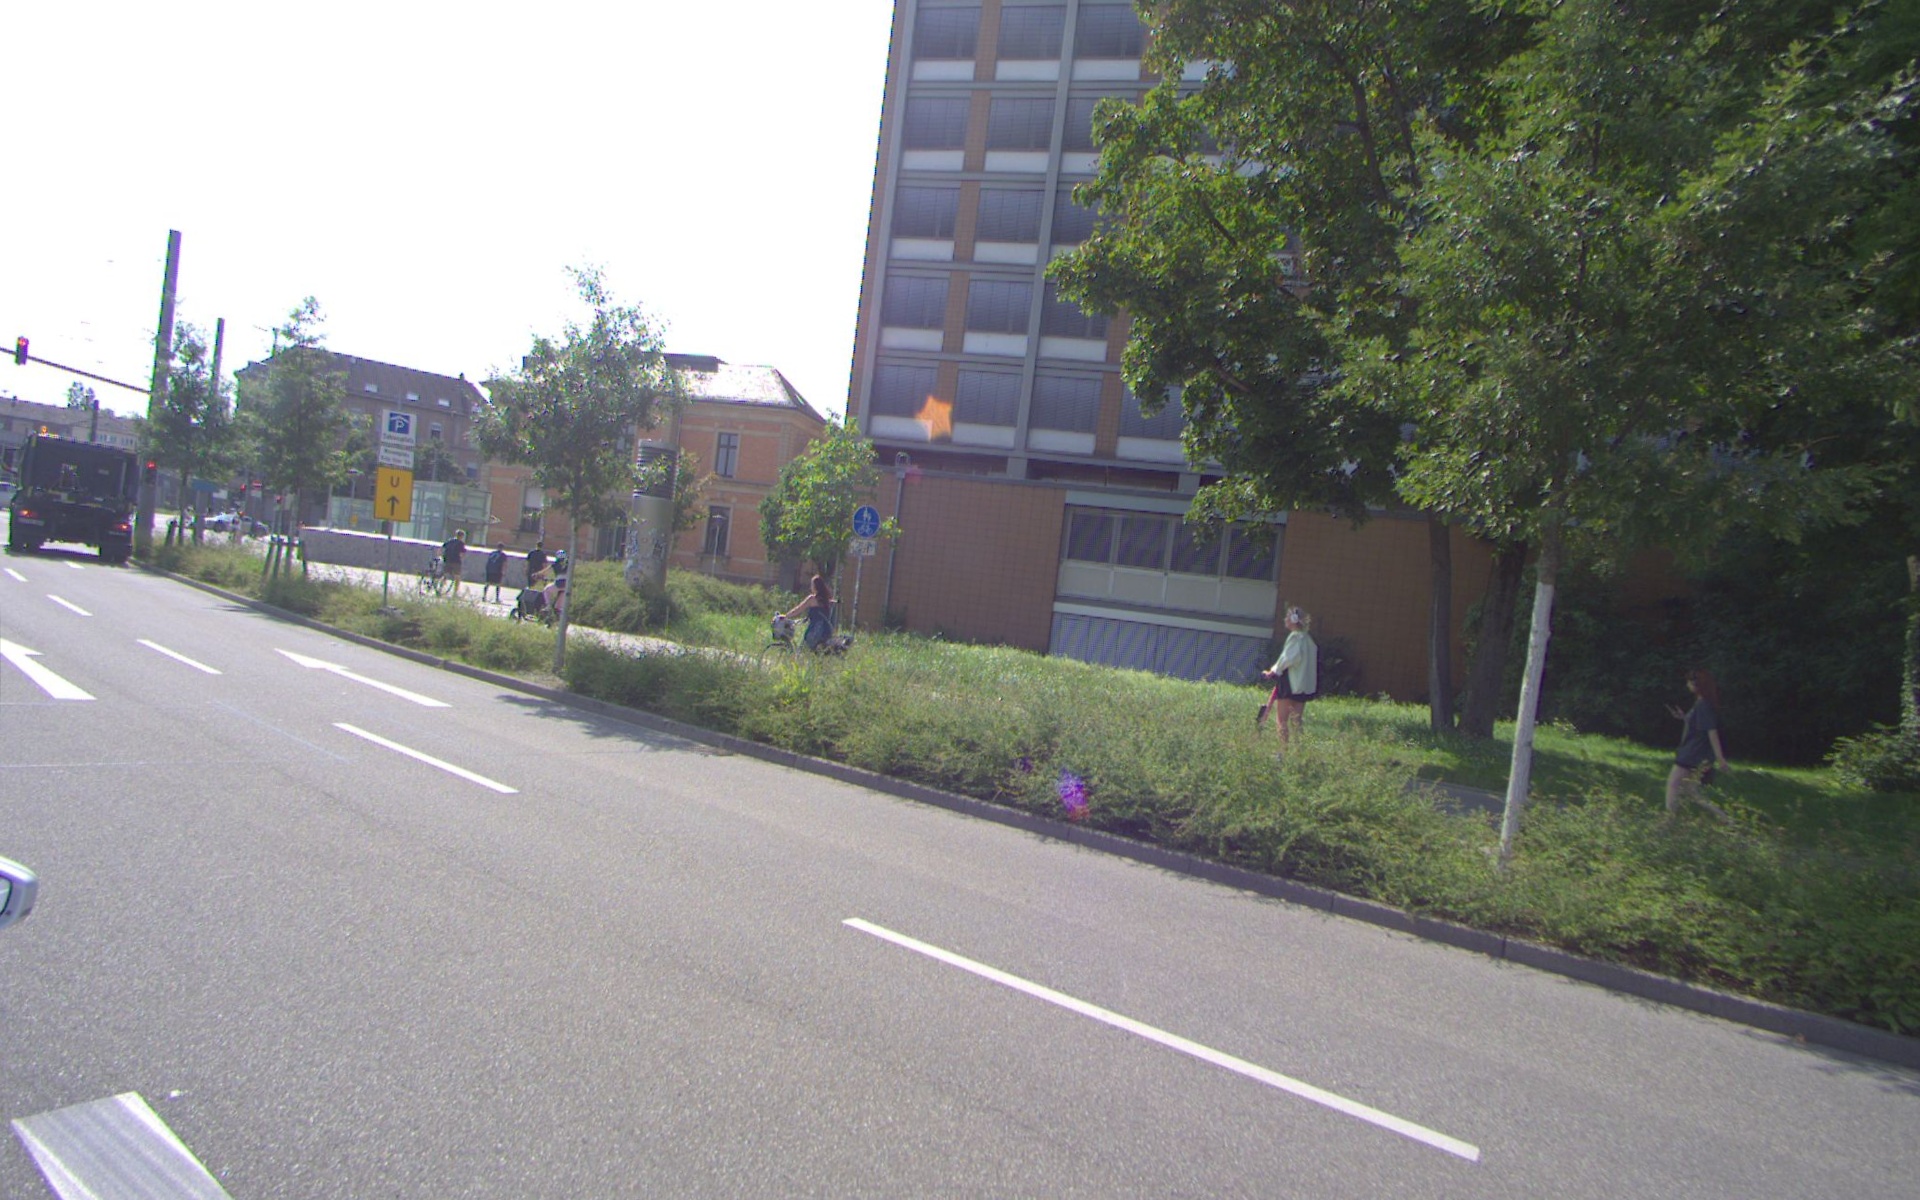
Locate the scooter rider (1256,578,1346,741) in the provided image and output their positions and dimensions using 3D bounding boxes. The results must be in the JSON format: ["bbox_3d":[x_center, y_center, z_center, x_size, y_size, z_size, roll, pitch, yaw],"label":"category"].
[{"bbox_3d":[3.809,0.657,11.238,0.532,1.722,0.668,9,4,43],"label":"scooter rider"}]

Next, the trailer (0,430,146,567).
[{"bbox_3d":[-24.707,-2.790,27.873,6.244,3.043,2.458,7,-1,45],"label":"trailer"}]

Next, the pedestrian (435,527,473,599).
[{"bbox_3d":[-13.841,-1.014,27.514,0.656,1.883,0.785,6,1,-36],"label":"pedestrian"}]

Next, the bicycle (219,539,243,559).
[{"bbox_3d":[-33.891,-2.368,46.757,0.671,0.786,2.103,6,0,-41],"label":"bicycle"}]

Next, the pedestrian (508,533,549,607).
[{"bbox_3d":[-12.244,-0.863,28.524,0.772,1.998,0.747,6,1,-32],"label":"pedestrian"}]

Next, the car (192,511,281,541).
[{"bbox_3d":[-50.504,-5.136,70.329,1.912,1.417,4.581,7,0,28],"label":"car"}]

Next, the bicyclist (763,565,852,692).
[{"bbox_3d":[-2.091,0.384,13.793,0.830,1.620,0.690,7,3,34],"label":"bicyclist"}]

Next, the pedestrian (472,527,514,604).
[{"bbox_3d":[-12.901,-0.959,27.783,0.772,1.998,0.747,6,1,-32],"label":"pedestrian"}]

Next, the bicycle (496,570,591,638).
[{"bbox_3d":[-8.025,0.061,19.344,1.971,1.073,0.557,7,1,32],"label":"bicycle"}]

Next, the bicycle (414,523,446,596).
[{"bbox_3d":[-14.300,-1.101,27.148,0.452,1.883,1.350,6,1,-34],"label":"bicycle"}]

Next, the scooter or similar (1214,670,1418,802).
[{"bbox_3d":[3.889,1.452,11.127,1.977,1.074,0.555,8,3,44],"label":"scooter or similar"}]

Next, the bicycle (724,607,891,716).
[{"bbox_3d":[-2.127,0.808,13.815,2.333,1.170,0.693,7,2,34],"label":"bicycle"}]

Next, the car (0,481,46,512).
[{"bbox_3d":[-53.037,-5.838,55.261,1.743,1.442,4.066,7,0,1],"label":"car"}]

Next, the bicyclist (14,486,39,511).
[{"bbox_3d":[-63.792,-6.915,68.771,0.849,1.520,0.905,7,1,25],"label":"bicyclist"}]

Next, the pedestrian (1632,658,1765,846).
[{"bbox_3d":[7.527,1.514,10.301,0.864,1.727,0.705,7,3,32],"label":"pedestrian"}]

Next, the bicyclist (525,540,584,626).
[{"bbox_3d":[-7.728,-0.322,19.176,0.790,1.515,0.549,8,2,32],"label":"bicyclist"}]

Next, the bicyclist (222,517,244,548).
[{"bbox_3d":[-33.737,-3.131,46.663,0.671,1.336,0.676,6,1,-41],"label":"bicyclist"}]
